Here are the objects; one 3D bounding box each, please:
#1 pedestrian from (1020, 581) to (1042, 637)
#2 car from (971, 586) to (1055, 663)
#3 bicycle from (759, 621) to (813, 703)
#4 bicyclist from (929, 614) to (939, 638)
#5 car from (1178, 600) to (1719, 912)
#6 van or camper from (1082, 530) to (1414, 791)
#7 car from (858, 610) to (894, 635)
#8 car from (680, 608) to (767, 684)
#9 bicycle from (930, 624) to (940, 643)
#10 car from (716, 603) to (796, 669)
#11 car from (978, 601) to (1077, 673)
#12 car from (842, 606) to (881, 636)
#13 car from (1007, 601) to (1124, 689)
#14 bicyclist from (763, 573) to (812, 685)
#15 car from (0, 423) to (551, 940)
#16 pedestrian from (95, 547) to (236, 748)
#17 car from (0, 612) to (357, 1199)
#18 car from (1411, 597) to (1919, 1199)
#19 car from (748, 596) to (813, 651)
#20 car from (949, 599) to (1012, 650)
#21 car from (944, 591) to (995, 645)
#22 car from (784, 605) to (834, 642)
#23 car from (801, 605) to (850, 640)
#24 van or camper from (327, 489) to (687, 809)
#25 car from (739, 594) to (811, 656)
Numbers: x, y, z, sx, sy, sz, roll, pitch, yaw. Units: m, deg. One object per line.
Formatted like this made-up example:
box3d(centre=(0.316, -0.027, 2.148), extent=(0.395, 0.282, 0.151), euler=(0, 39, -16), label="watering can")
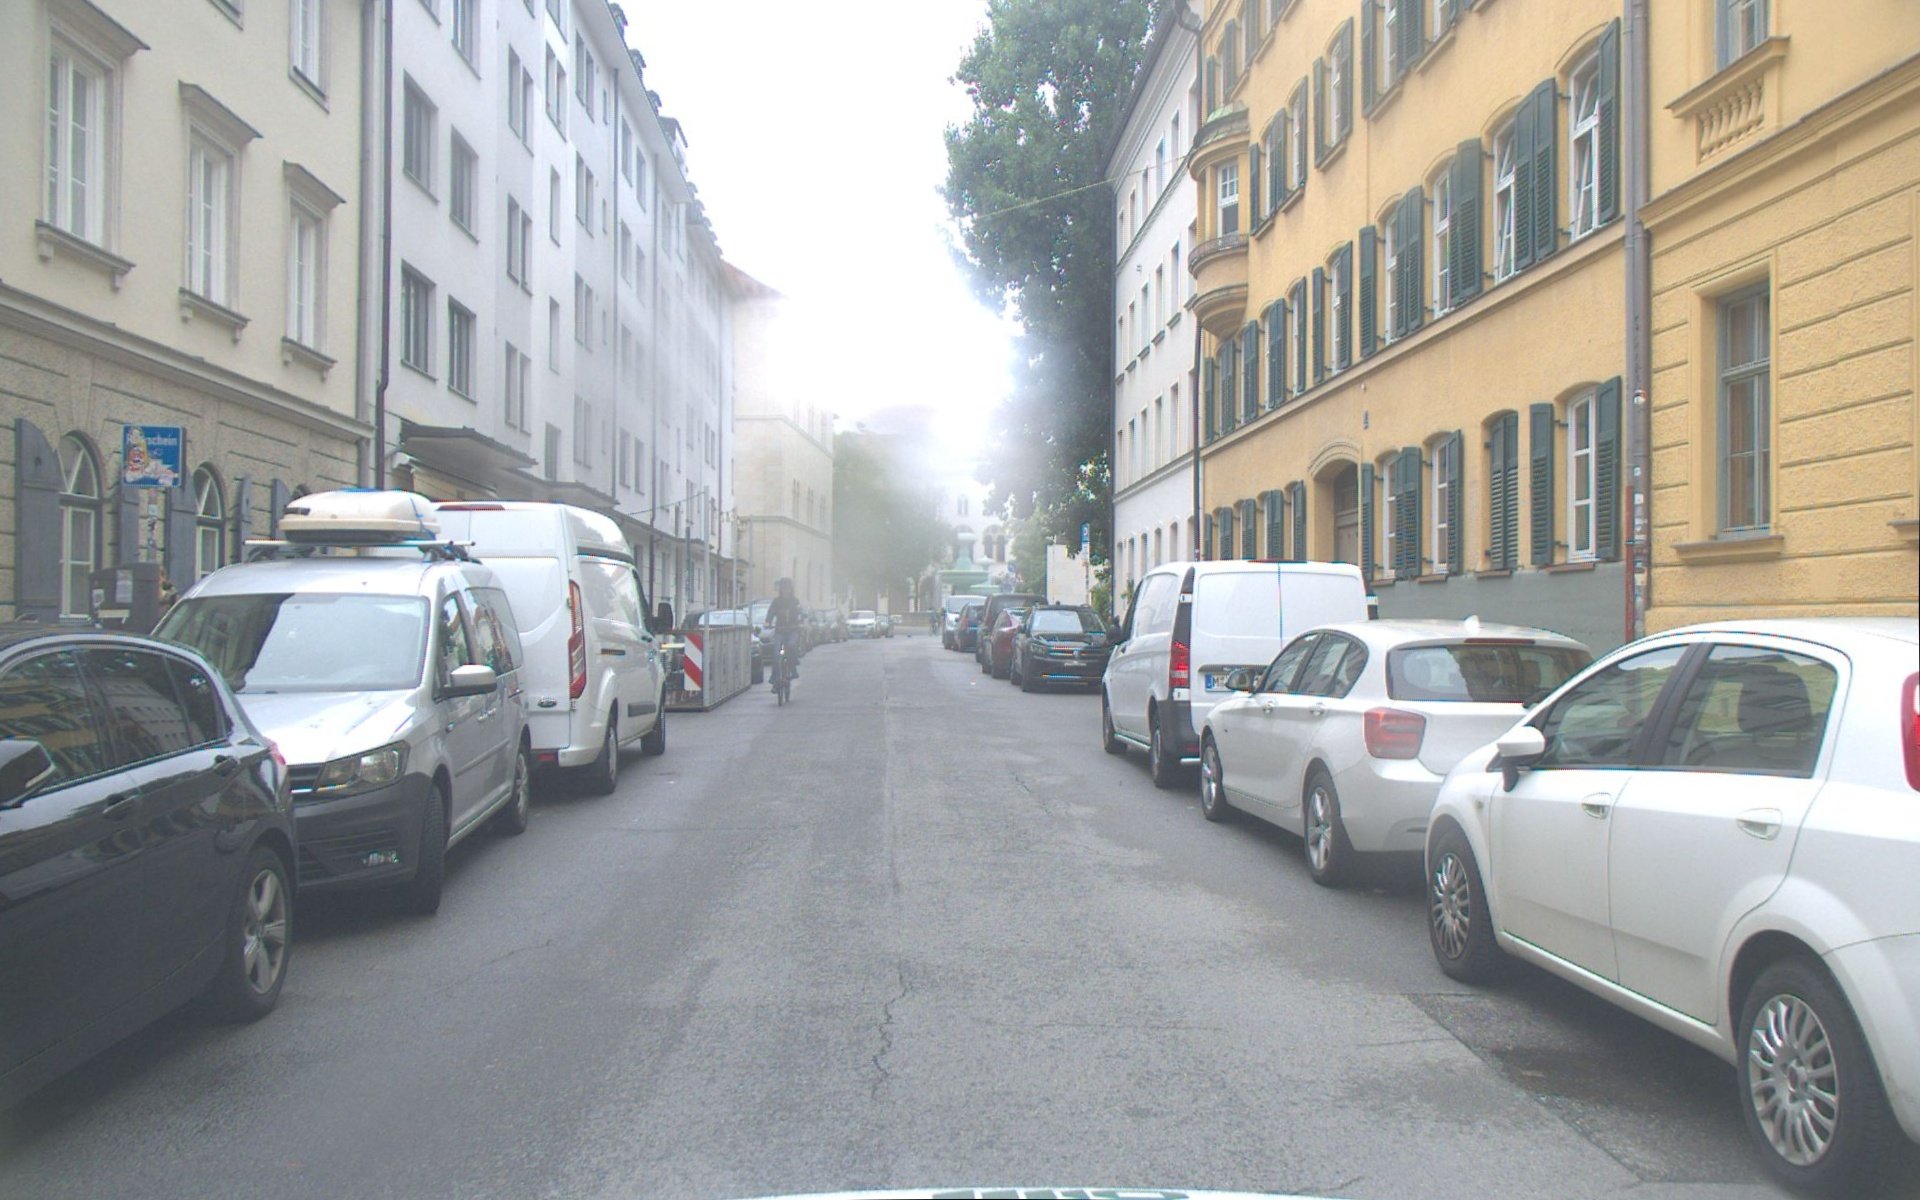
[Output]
box3d(centre=(2.882, 0.356, 66.830), extent=(0.777, 2.236, 0.813), euler=(1, 0, -3), label="pedestrian")
box3d(centre=(1.311, 0.623, 42.173), extent=(1.809, 1.807, 4.199), euler=(2, -1, -2), label="car")
box3d(centre=(-2.619, 0.912, 25.013), extent=(0.718, 1.171, 1.998), euler=(0, 0, -4), label="bicycle")
box3d(centre=(-1.698, 1.725, 109.416), extent=(0.643, 1.578, 0.887), euler=(0, -1, 0), label="bicyclist")
box3d(centre=(2.743, 0.771, 10.506), extent=(1.780, 1.536, 4.583), euler=(0, 0, -5), label="car")
box3d(centre=(2.475, 0.473, 15.670), extent=(1.954, 2.049, 5.229), euler=(0, 0, -4), label="van or camper")
box3d(centre=(-4.958, 1.344, 97.956), extent=(1.663, 1.417, 4.213), euler=(-1, -1, 3), label="car")
box3d(centre=(-4.800, 0.886, 33.388), extent=(1.608, 1.378, 4.050), euler=(-1, 0, -9), label="car")
box3d(centre=(-1.675, 2.185, 109.359), extent=(0.635, 1.218, 1.950), euler=(0, -1, 0), label="bicycle")
box3d(centre=(-5.259, 0.901, 43.025), extent=(1.738, 1.566, 4.156), euler=(-1, 0, -3), label="car")
box3d(centre=(1.394, 0.761, 35.627), extent=(1.679, 1.449, 4.454), euler=(0, 0, -4), label="car")
box3d(centre=(-5.418, 1.177, 91.486), extent=(1.741, 1.562, 4.212), euler=(-1, -1, 2), label="car")
box3d(centre=(1.853, 0.768, 30.140), extent=(1.711, 1.489, 3.998), euler=(0, 0, -3), label="car")
box3d(centre=(-2.605, 0.431, 25.085), extent=(0.673, 1.656, 0.852), euler=(1, 0, -4), label="bicyclist")
box3d(centre=(-3.563, 0.366, 9.555), extent=(1.822, 2.240, 4.553), euler=(1, 0, -8), label="car")
box3d(centre=(-7.124, 0.414, 14.877), extent=(0.789, 1.742, 1.021), euler=(0, 0, -1), label="pedestrian")
box3d(centre=(-3.232, 0.767, 4.560), extent=(1.821, 1.426, 4.265), euler=(1, 0, -4), label="car")
box3d(centre=(2.911, 0.763, 5.550), extent=(1.591, 1.536, 3.759), euler=(0, 0, -3), label="car")
box3d(centre=(-5.869, 0.745, 54.480), extent=(1.835, 1.687, 4.587), euler=(-1, 0, -3), label="car")
box3d(centre=(0.657, 0.818, 56.380), extent=(1.772, 1.628, 4.211), euler=(1, 0, -4), label="car")
box3d(centre=(0.332, 0.675, 62.469), extent=(1.844, 1.958, 4.874), euler=(0, 0, 0), label="car")
box3d(centre=(-6.496, 1.006, 71.419), extent=(1.714, 1.479, 4.016), euler=(-1, 0, 1), label="car")
box3d(centre=(-6.181, 1.008, 76.188), extent=(1.714, 1.479, 4.017), euler=(-1, 0, 3), label="car")
box3d(centre=(-3.801, 0.353, 14.980), extent=(1.953, 2.352, 5.475), euler=(0, 0, -2), label="van or camper")
box3d(centre=(-5.424, 0.693, 49.004), extent=(1.835, 1.717, 4.517), euler=(-1, 0, -3), label="car")
